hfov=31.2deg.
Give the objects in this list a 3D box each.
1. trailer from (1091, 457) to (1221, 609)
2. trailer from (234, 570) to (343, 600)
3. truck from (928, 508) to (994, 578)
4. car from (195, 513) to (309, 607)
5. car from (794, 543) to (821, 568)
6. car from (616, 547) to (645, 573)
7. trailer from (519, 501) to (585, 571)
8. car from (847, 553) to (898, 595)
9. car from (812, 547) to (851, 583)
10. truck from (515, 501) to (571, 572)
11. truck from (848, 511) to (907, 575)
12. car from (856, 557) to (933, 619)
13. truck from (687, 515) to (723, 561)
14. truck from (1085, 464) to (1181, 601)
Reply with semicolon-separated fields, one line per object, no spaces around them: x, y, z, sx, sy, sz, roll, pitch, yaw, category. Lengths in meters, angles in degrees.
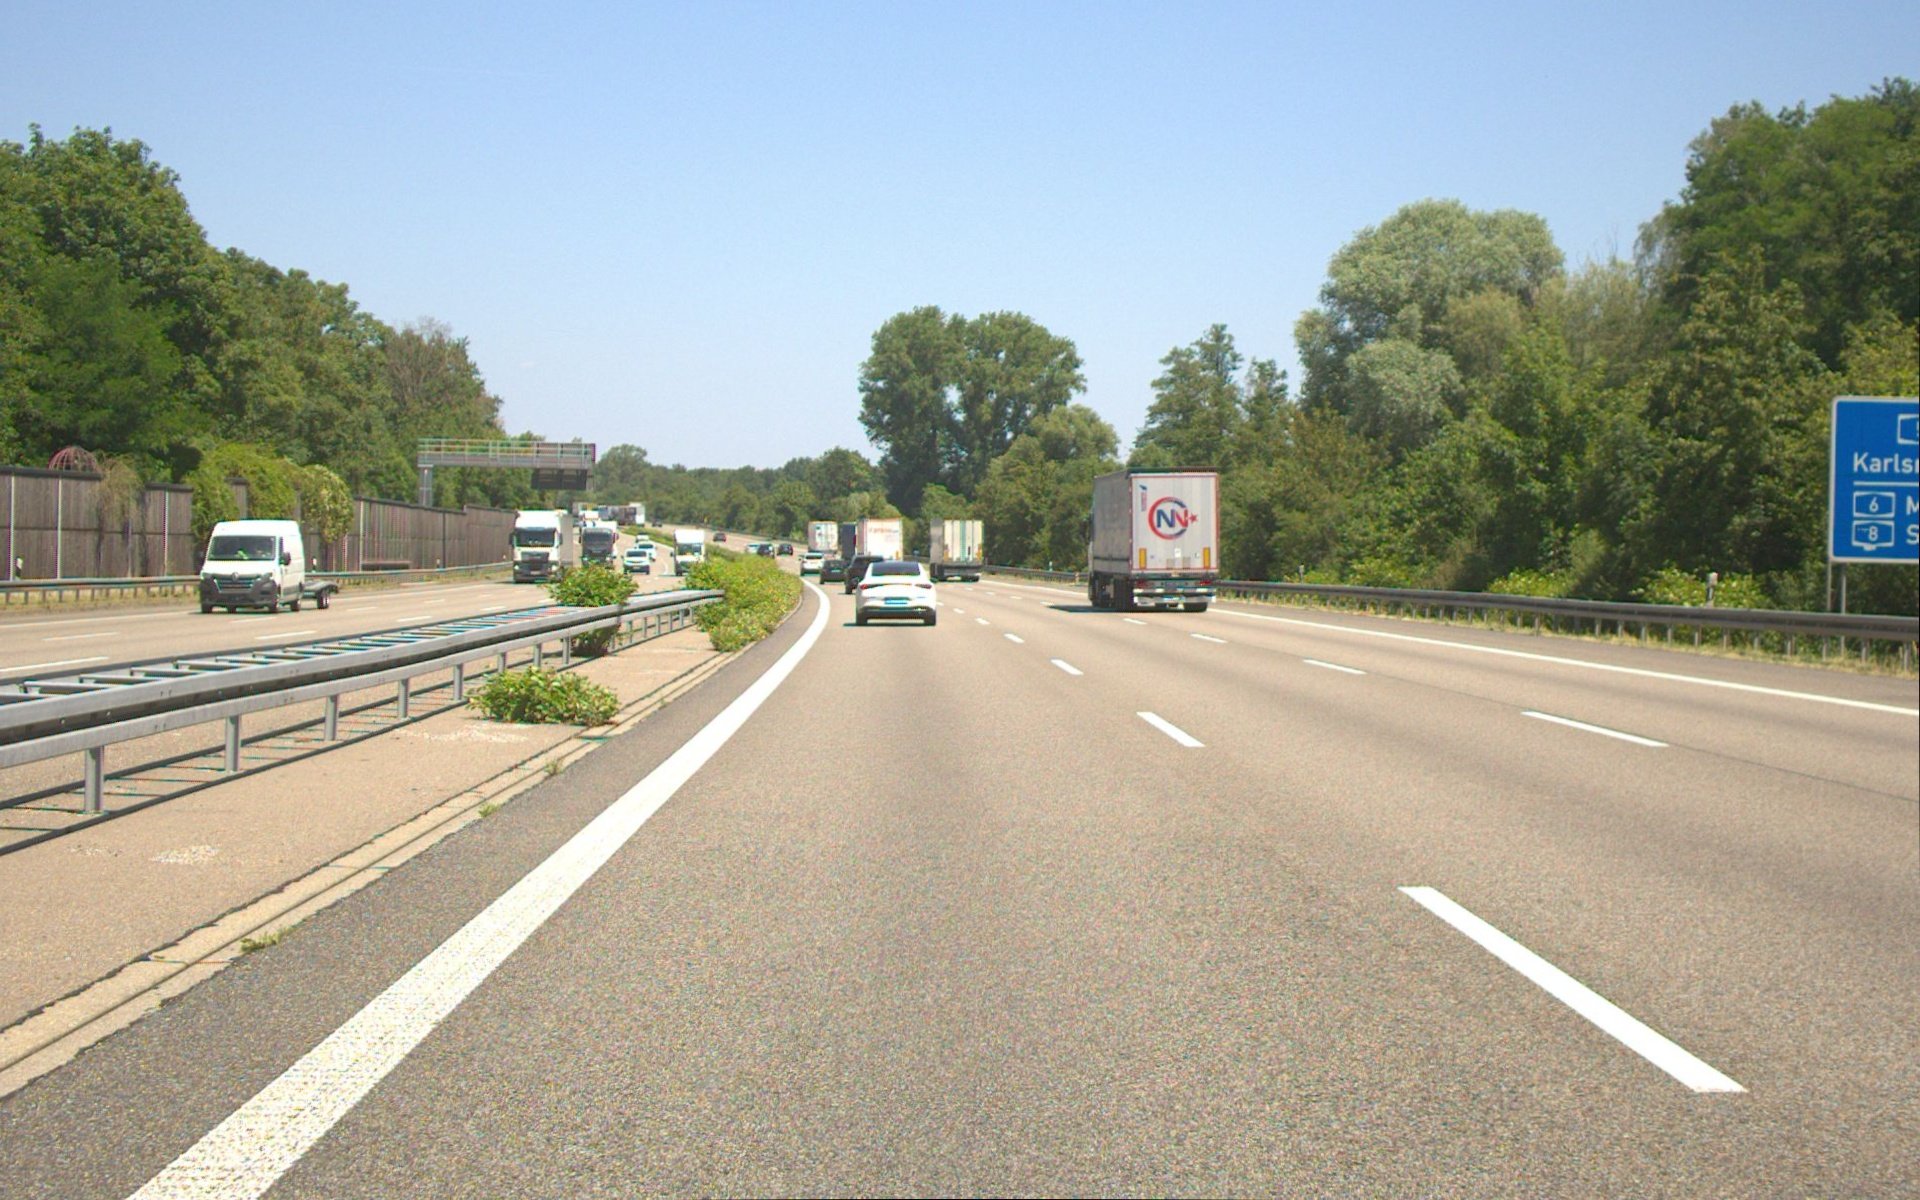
5.785;-1.996;103.800;2.624;4.246;14.062;1;1;-2;trailer
-19.074;-0.440;97.927;2.161;0.804;6.282;0;1;-3;trailer
0.016;-3.642;219.152;3.492;4.296;10.990;1;1;-3;truck
-18.904;-1.071;92.029;2.023;2.423;5.413;0;1;-1;car
-11.162;-3.294;251.683;1.723;1.777;4.001;0;1;-6;car
-23.687;-2.897;247.348;1.867;1.814;4.817;0;1;-3;car
-23.631;-3.683;199.674;2.729;3.896;13.763;1;1;-2;trailer
-3.871;-1.162;151.044;1.993;1.766;4.001;0;1;-5;car
-7.425;-2.043;199.050;1.993;2.007;4.001;0;1;-6;car
-23.374;-3.565;193.087;2.686;3.881;5.574;1;1;-3;truck
-5.700;-3.898;235.693;3.359;4.296;10.830;0;1;-5;truck
-1.496;-0.288;78.764;1.715;1.365;3.375;0;1;-1;car
-17.940;-4.353;242.144;2.193;3.104;8.535;1;1;-2;truck
5.540;-2.170;110.871;2.605;4.272;5.436;1;1;-2;truck
